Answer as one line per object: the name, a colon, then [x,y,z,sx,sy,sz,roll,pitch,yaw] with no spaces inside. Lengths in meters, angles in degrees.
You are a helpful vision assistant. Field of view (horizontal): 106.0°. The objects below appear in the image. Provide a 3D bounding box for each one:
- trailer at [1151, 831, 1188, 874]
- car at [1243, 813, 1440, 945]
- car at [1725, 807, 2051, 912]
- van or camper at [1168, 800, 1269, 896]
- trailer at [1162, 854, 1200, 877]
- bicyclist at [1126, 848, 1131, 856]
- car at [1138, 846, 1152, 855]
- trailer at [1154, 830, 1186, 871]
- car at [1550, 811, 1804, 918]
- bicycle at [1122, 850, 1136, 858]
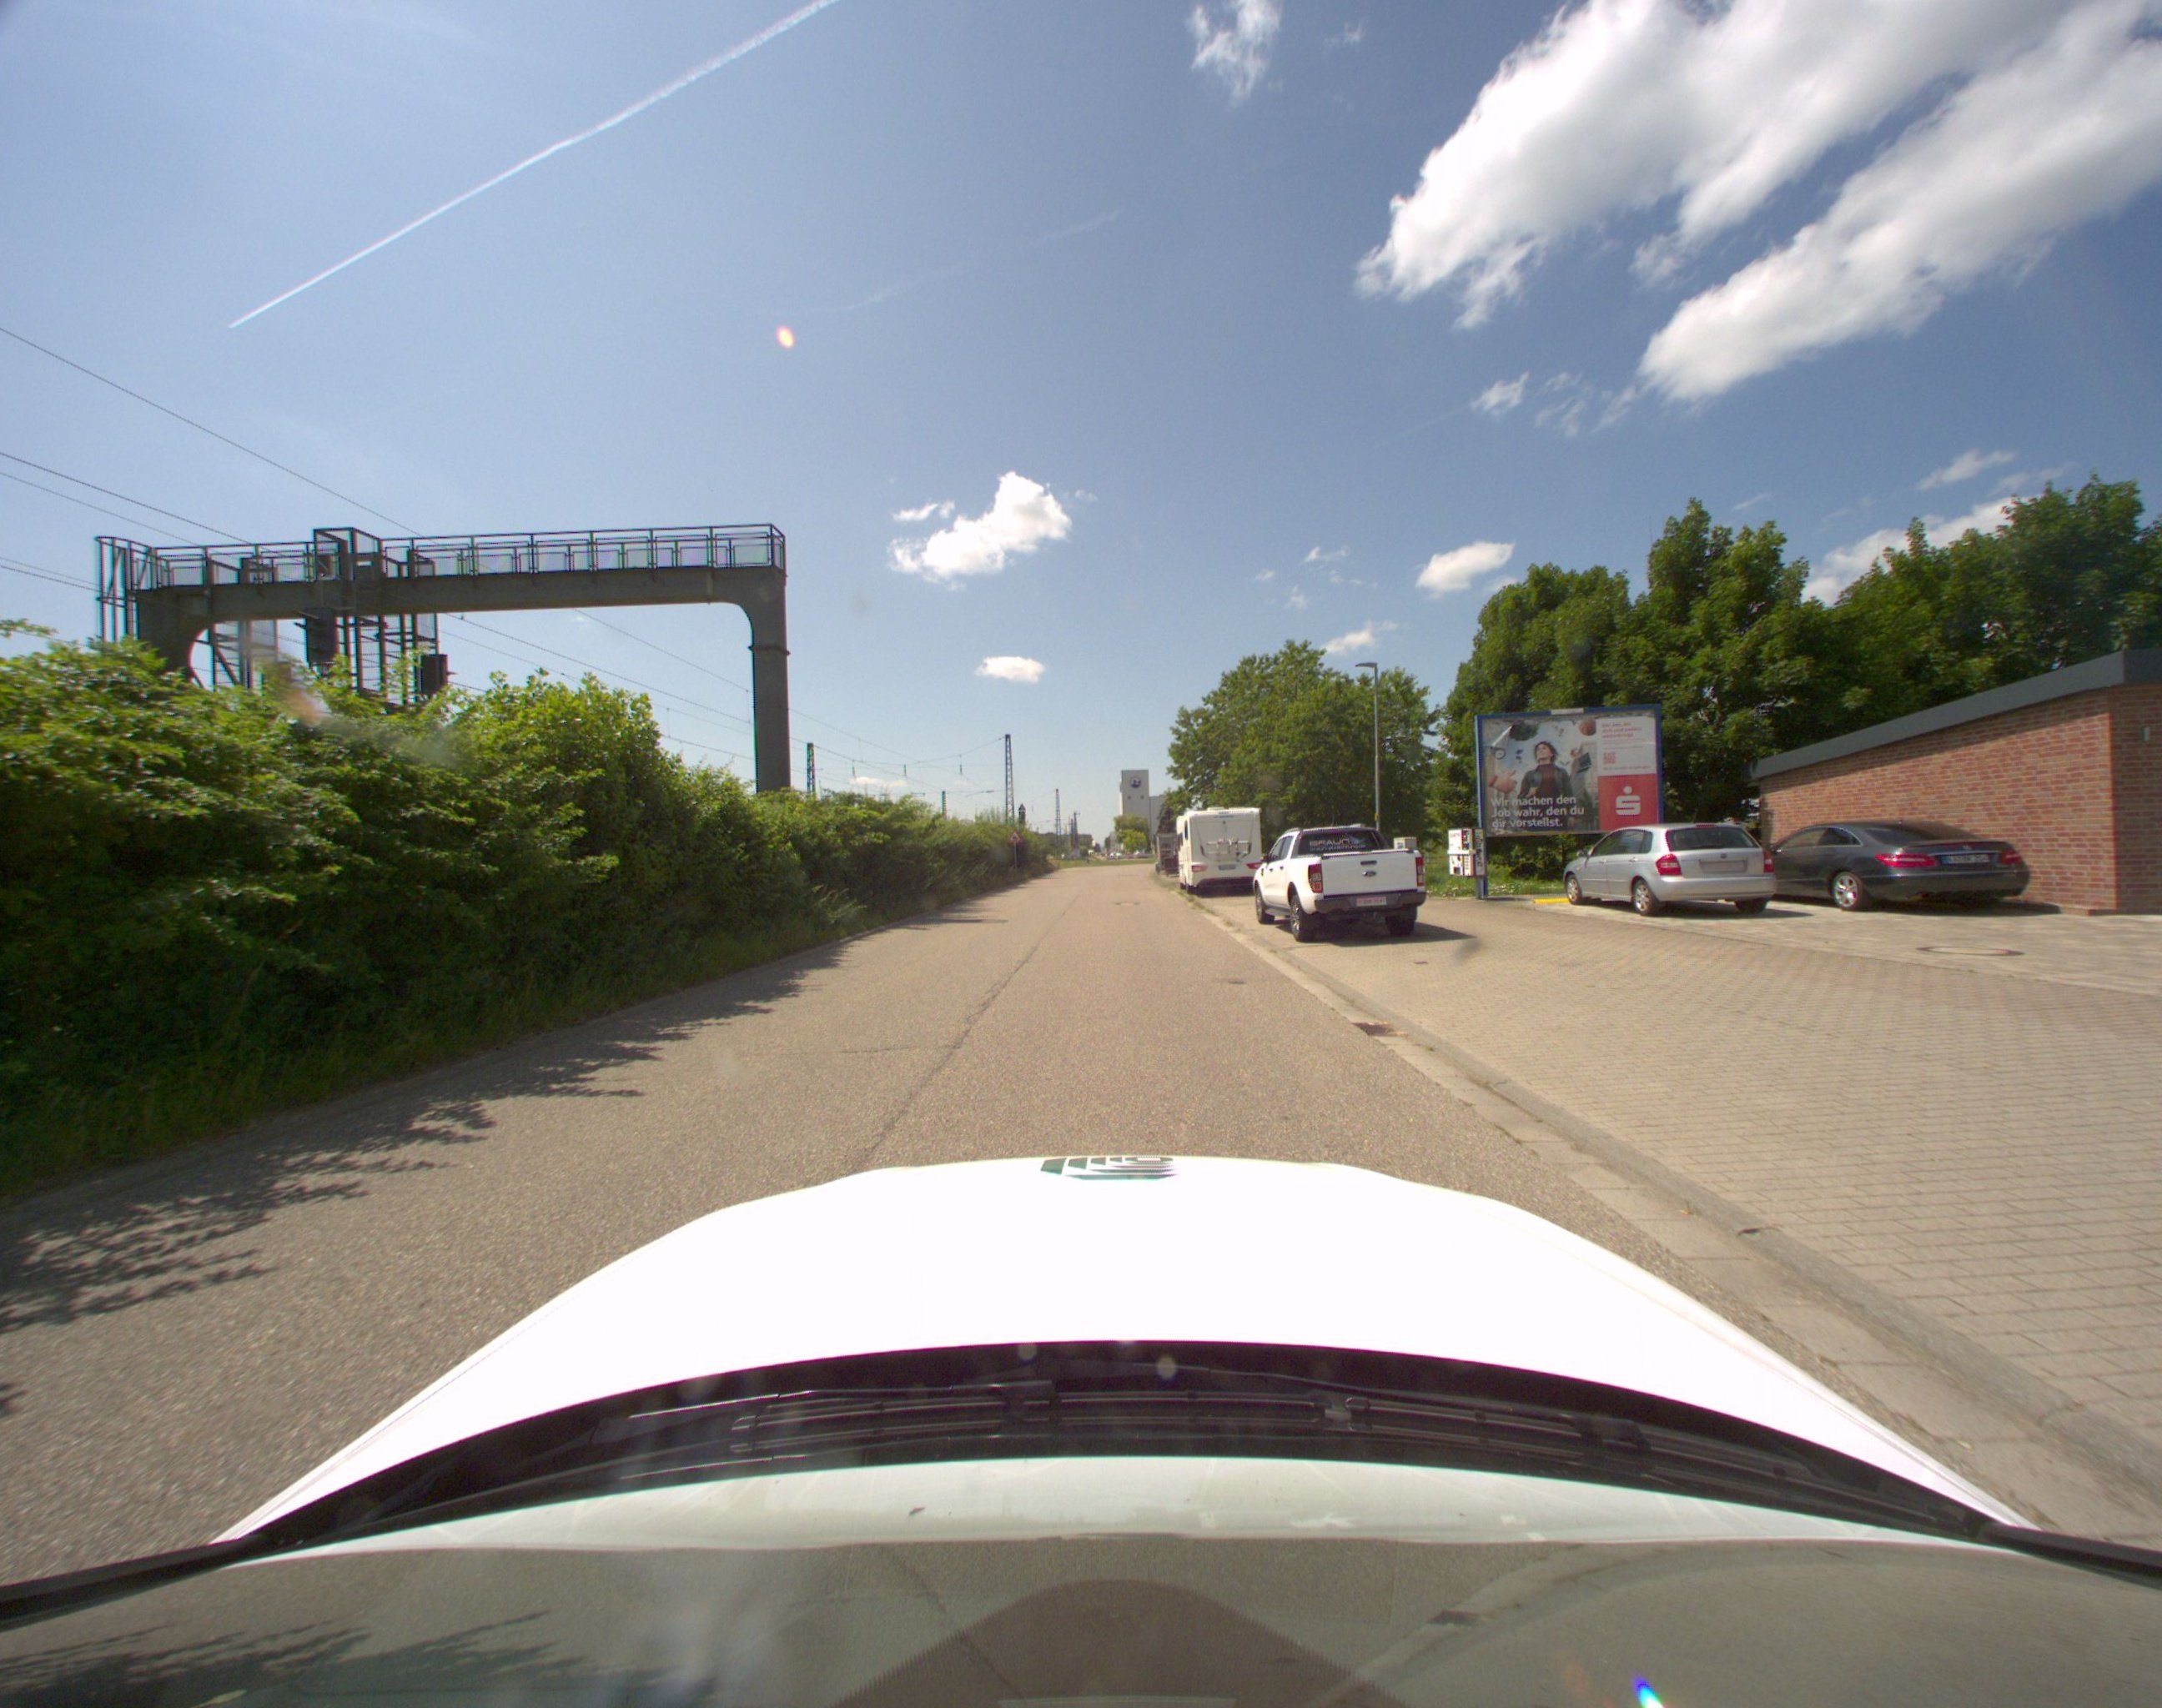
trailer: [5.728,-0.111,53.208,1.911,2.508,4.744,-4,0,3]
car: [4.315,0.352,14.534,1.840,1.814,5.427,-4,0,2]
car: [12.603,0.070,13.143,1.736,1.376,4.011,-2,0,10]
van or camper: [4.665,-0.198,28.965,2.429,2.826,7.627,-3,0,2]
trailer: [5.822,0.645,47.799,1.995,1.123,4.495,-5,-1,5]
bicyclist: [7.602,-0.306,130.167,0.505,1.255,0.472,-2,0,34]
car: [11.909,-0.592,151.308,1.989,1.510,4.449,-2,0,-4]
trailer: [6.434,-0.277,58.295,1.922,2.644,5.195,-4,0,8]
car: [9.973,0.148,14.078,1.894,1.480,4.011,-3,0,10]
bicycle: [7.722,-0.014,130.108,2.118,1.164,0.665,-1,0,34]
